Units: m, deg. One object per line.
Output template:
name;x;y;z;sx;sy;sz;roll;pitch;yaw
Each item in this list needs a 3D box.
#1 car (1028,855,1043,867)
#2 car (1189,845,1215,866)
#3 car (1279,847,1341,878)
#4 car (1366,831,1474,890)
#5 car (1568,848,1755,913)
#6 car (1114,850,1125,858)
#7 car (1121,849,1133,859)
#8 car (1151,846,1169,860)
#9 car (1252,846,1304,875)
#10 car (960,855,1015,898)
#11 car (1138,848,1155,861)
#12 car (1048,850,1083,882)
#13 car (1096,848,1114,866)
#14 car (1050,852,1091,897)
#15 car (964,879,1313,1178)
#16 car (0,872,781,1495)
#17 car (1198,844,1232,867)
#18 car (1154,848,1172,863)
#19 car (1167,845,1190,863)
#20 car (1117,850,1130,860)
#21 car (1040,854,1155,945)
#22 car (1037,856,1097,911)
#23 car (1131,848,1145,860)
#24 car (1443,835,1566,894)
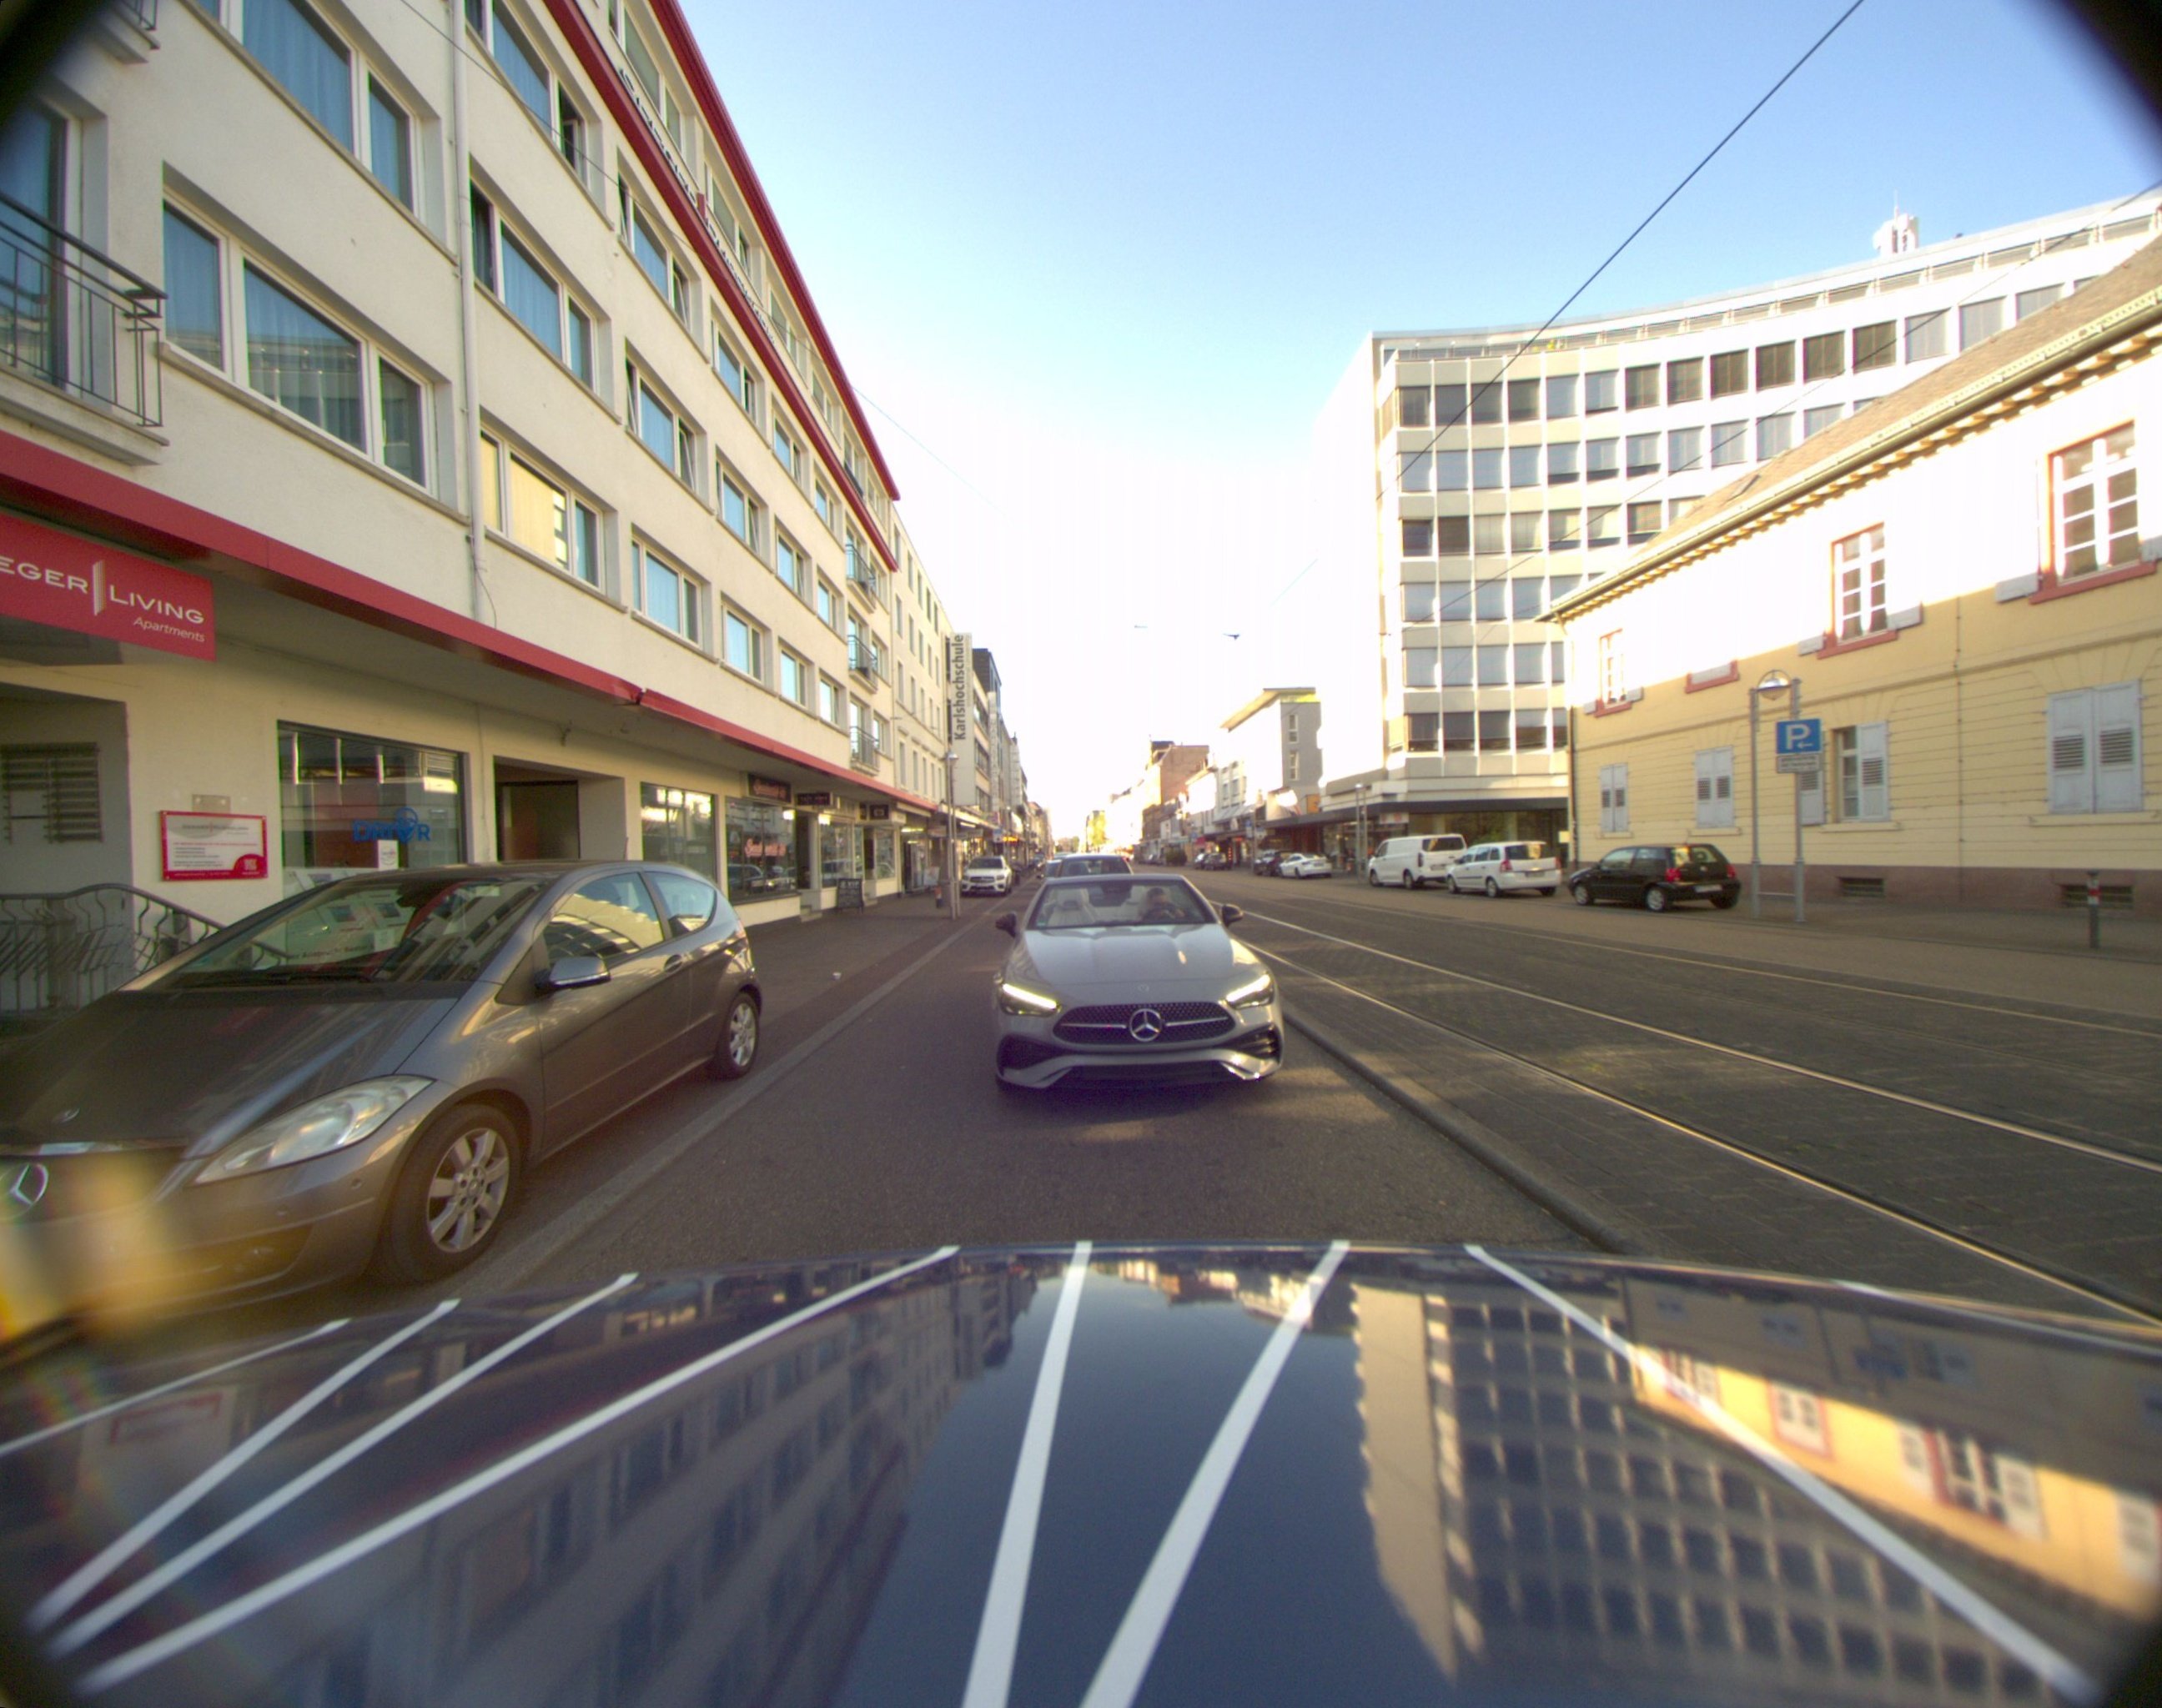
car;-5.827;0.862;98.300;1.714;1.430;3.756;-2;1;-1
car;11.758;0.143;74.024;1.789;1.870;3.999;-1;0;-2
car;12.640;0.419;42.261;1.999;1.521;4.373;-2;1;-1
car;12.672;0.231;28.794;2.040;2.002;4.621;-1;0;1
car;12.857;0.536;17.076;1.688;1.246;3.212;-2;1;-1
car;8.946;-0.001;176.380;2.148;1.850;3.998;-2;1;-2
car;9.549;-0.005;157.271;1.999;2.002;3.999;-1;0;-2
car;11.564;-0.125;111.562;1.999;2.002;3.998;-2;1;-2
car;12.279;0.365;47.550;1.999;1.694;4.107;-3;1;-2
car;-3.848;0.889;31.724;1.999;1.620;3.998;-1;0;-4
car;10.510;0.037;122.121;1.999;2.002;5.320;-1;0;-1
car;-0.951;0.685;46.149;1.999;1.793;3.999;-2;1;-1
car;2.913;0.326;93.072;1.947;2.002;3.999;-2;1;-1
car;-0.465;0.804;31.908;1.573;1.670;3.688;-2;1;-1
car;0.188;1.012;6.161;1.884;1.375;3.998;-2;1;-4
car;-3.201;0.935;3.984;1.683;1.537;3.999;-2;0;-1
car;11.488;0.124;65.460;1.999;1.849;3.998;-2;1;-2
car;10.853;0.178;100.884;1.998;2.002;4.000;-1;0;1
car;11.579;0.010;90.453;2.200;2.030;3.999;-1;0;-1
car;7.034;0.227;126.988;1.760;1.587;3.999;-1;0;-2
car;0.191;0.808;15.547;1.927;1.533;3.998;-2;0;-4
car;-0.439;0.846;23.671;1.648;1.506;3.844;-2;0;-1
car;10.107;0.025;134.444;1.999;2.002;3.999;-1;0;-1
car;12.773;0.267;23.206;1.641;1.600;4.005;-2;1;3
